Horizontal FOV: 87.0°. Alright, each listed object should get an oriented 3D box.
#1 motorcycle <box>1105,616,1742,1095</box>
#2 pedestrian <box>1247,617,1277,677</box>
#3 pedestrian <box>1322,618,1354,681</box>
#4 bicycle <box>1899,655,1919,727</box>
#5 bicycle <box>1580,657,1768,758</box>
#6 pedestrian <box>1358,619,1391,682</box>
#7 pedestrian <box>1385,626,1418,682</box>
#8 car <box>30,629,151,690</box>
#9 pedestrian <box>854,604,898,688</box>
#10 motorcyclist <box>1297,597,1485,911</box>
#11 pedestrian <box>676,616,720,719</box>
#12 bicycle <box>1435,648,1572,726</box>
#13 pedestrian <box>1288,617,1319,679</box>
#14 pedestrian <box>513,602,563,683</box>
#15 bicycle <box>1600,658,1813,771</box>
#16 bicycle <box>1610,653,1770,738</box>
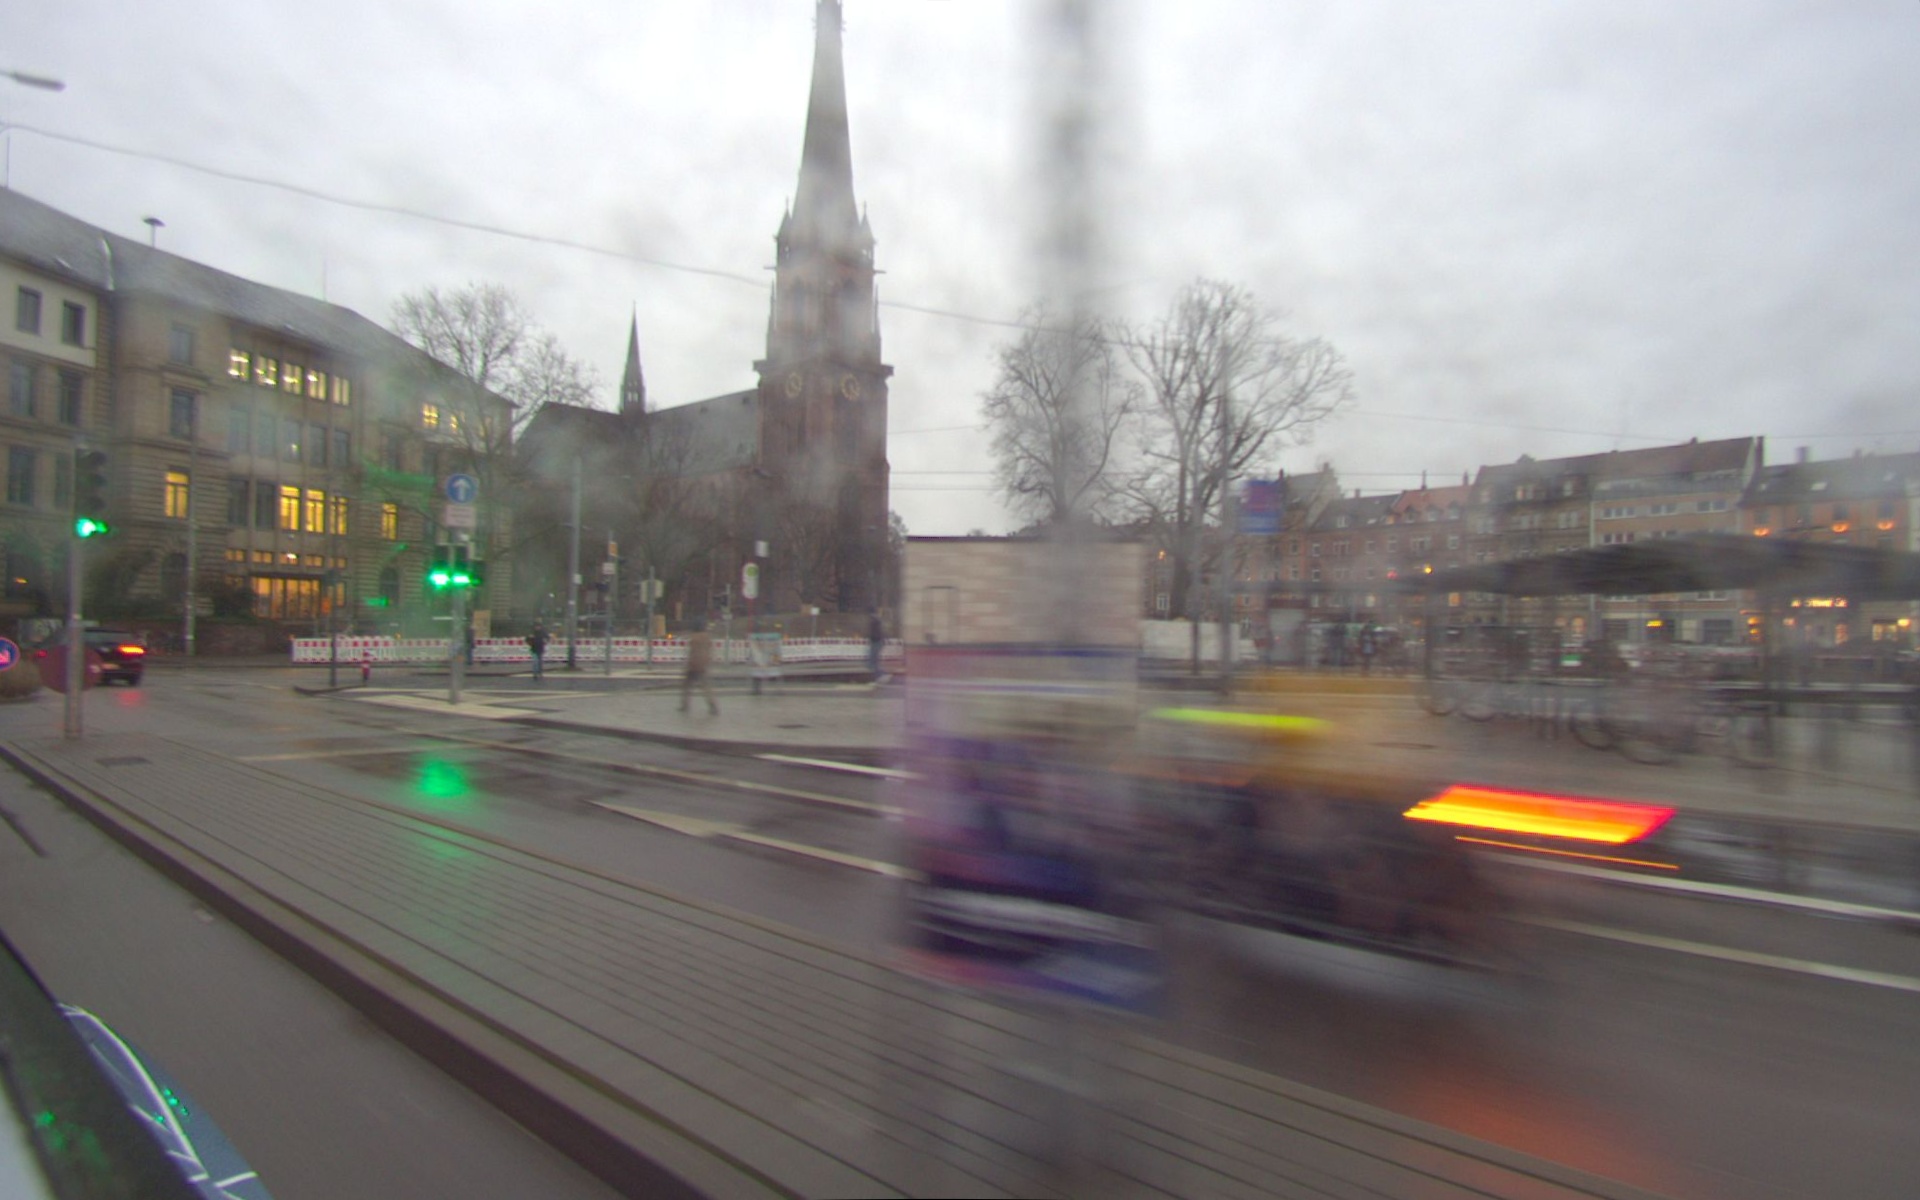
[{"bbox_3d":[1.821,0.835,4.276,2.312,1.509,0.821,-1,-3,39],"label":"motorcycle"},{"bbox_3d":[9.088,1.398,30.473,0.708,1.770,0.713,1,-1,7],"label":"pedestrian"},{"bbox_3d":[11.230,1.449,30.063,0.708,1.820,0.713,1,-1,7],"label":"pedestrian"},{"bbox_3d":[16.931,1.533,16.836,1.879,1.174,0.548,1,0,12],"label":"bicycle"},{"bbox_3d":[9.060,1.349,12.902,1.879,1.174,0.548,1,0,12],"label":"bicycle"},{"bbox_3d":[12.274,1.471,29.959,0.708,1.820,0.713,1,-1,7],"label":"pedestrian"},{"bbox_3d":[13.176,1.592,30.212,0.708,1.630,0.713,1,-1,7],"label":"pedestrian"},{"bbox_3d":[-21.747,1.460,25.251,4.366,1.389,1.728,-2,-4,43],"label":"car"},{"bbox_3d":[-1.873,1.014,22.708,0.818,1.827,0.602,1,0,15],"label":"pedestrian"},{"bbox_3d":[1.831,0.594,4.300,0.610,1.202,0.530,1,0,38],"label":"motorcyclist"},{"bbox_3d":[-4.442,1.121,17.119,0.663,1.686,0.732,0,0,-18],"label":"pedestrian"},{"bbox_3d":[8.925,1.422,16.678,1.879,1.174,0.548,1,0,12],"label":"bicycle"},{"bbox_3d":[10.267,1.433,30.283,0.708,1.820,0.713,1,-1,7],"label":"pedestrian"},{"bbox_3d":[-12.855,1.263,30.842,1.062,2.388,0.984,1,0,36],"label":"pedestrian"},{"bbox_3d":[8.631,1.308,11.771,1.922,1.174,0.548,1,0,12],"label":"bicycle"},{"bbox_3d":[11.018,1.424,15.321,1.879,1.174,0.548,1,0,12],"label":"bicycle"}]
